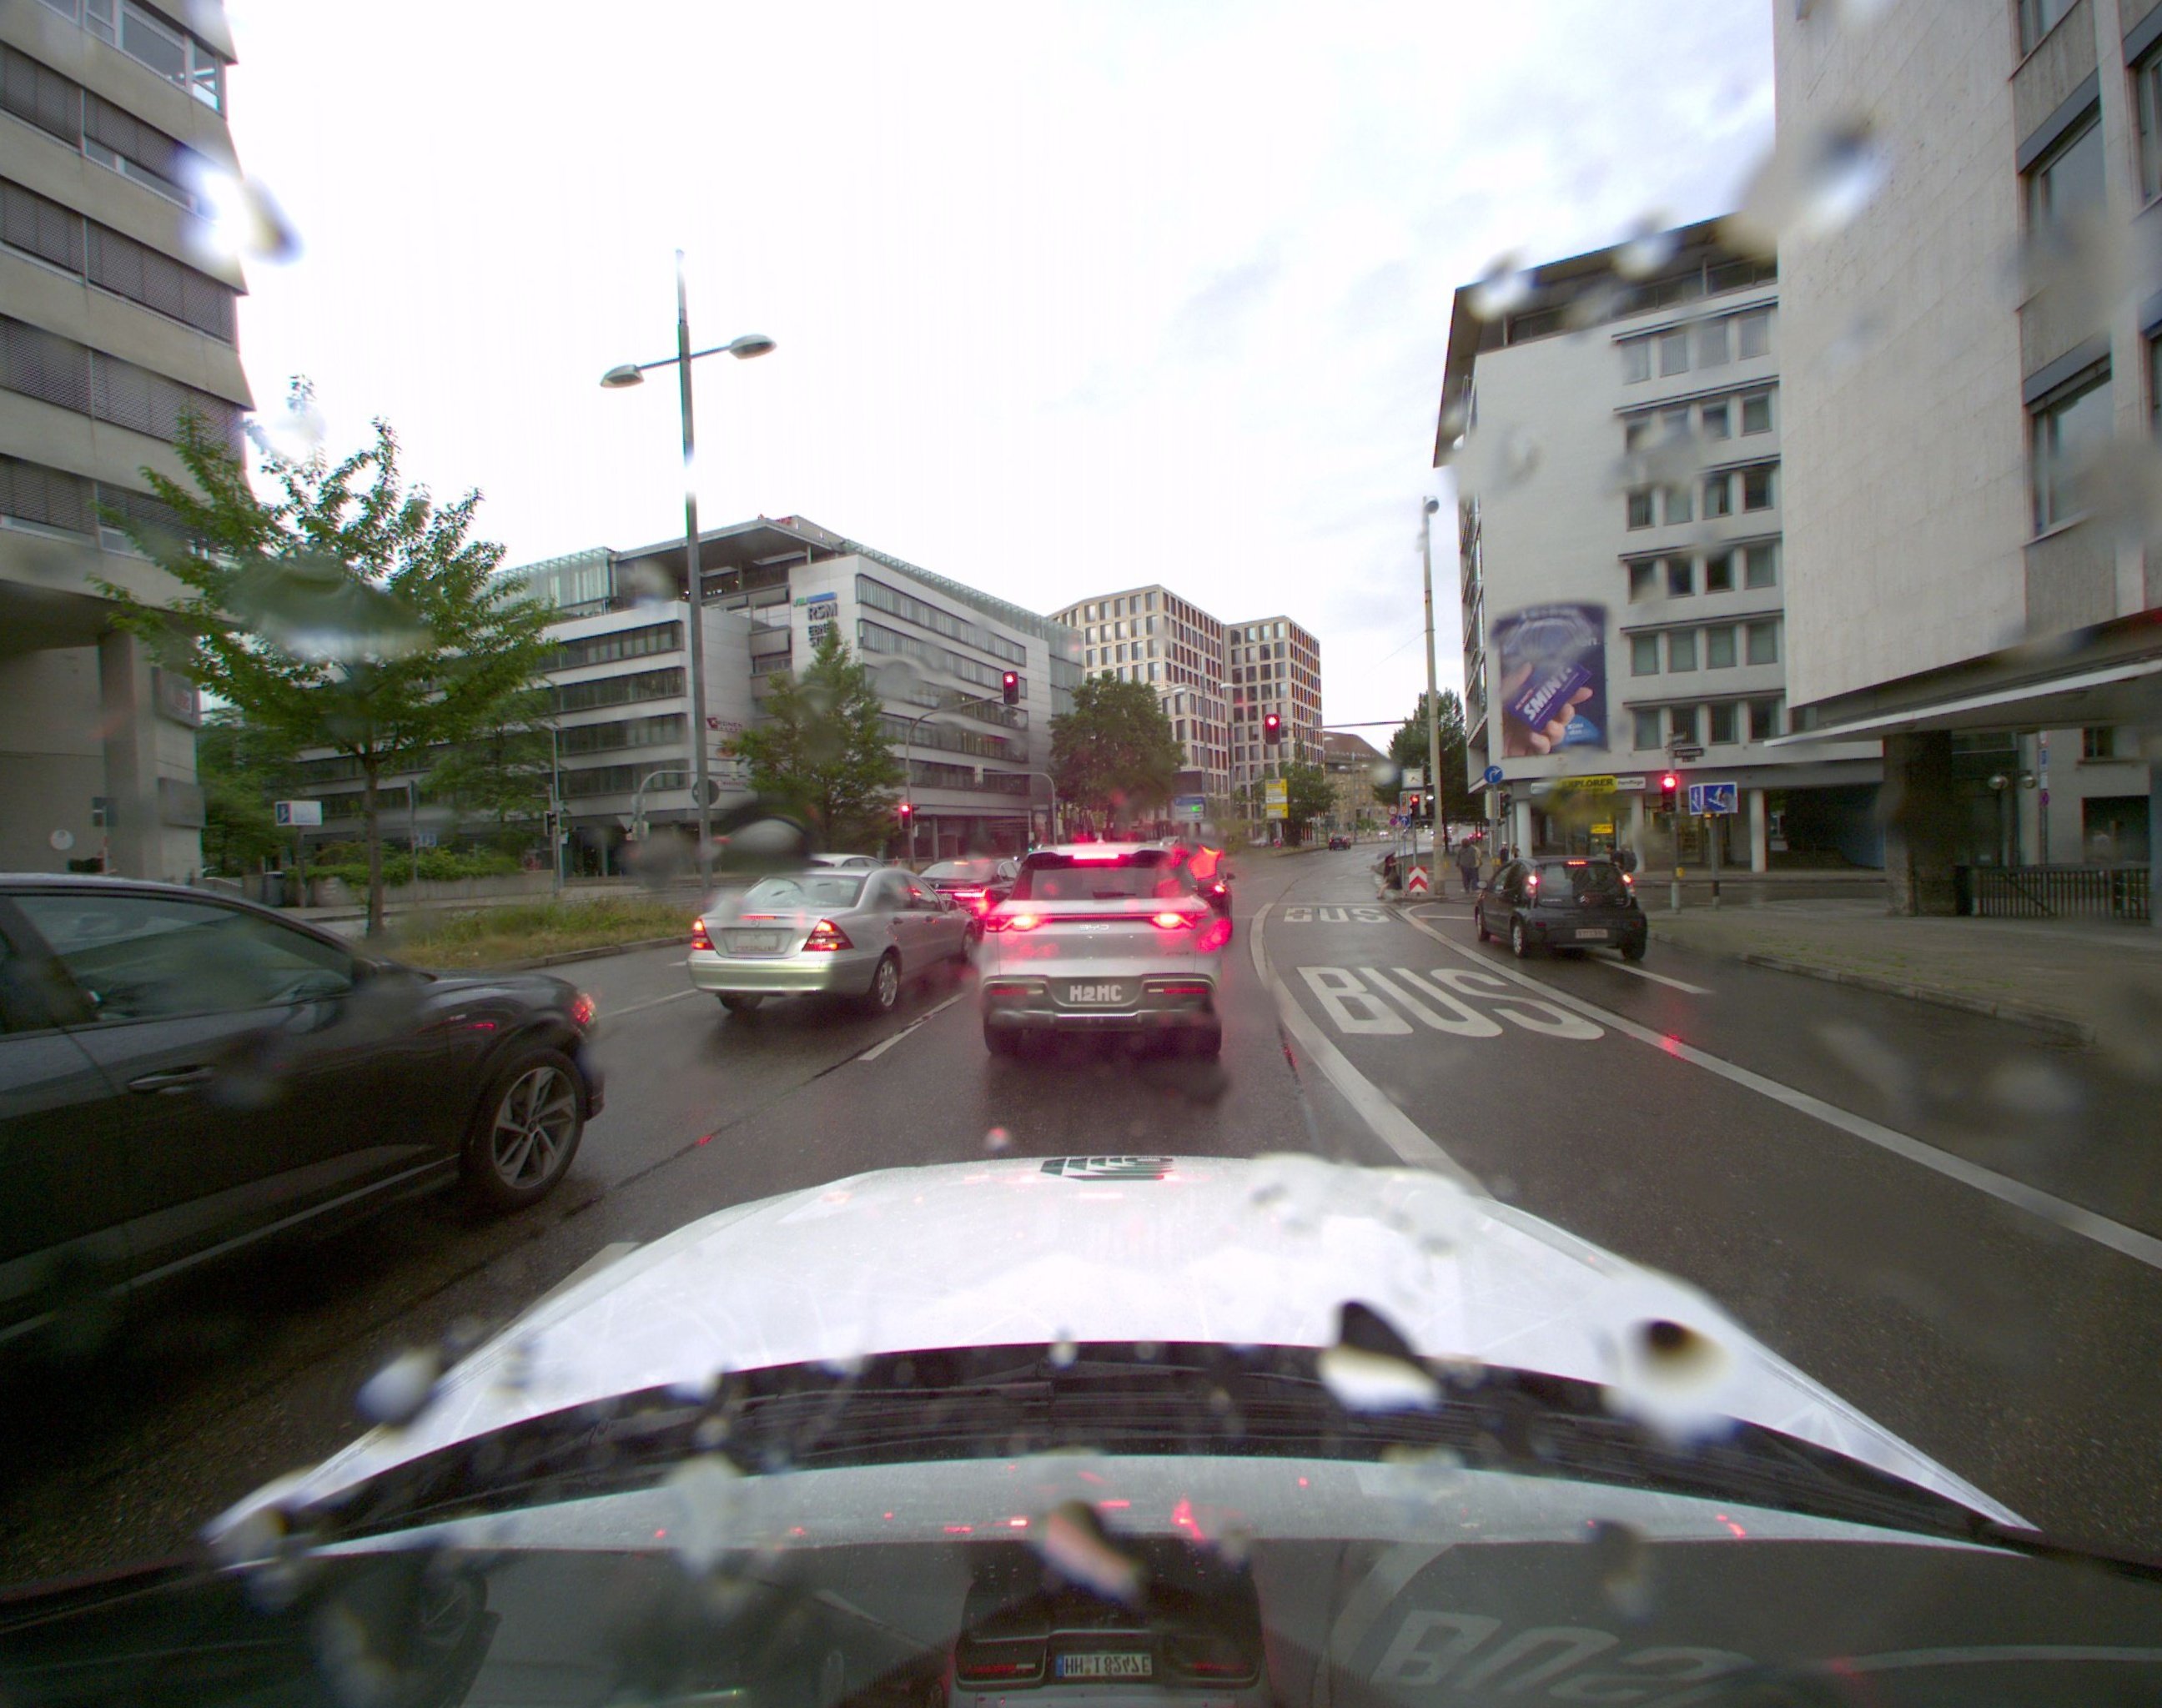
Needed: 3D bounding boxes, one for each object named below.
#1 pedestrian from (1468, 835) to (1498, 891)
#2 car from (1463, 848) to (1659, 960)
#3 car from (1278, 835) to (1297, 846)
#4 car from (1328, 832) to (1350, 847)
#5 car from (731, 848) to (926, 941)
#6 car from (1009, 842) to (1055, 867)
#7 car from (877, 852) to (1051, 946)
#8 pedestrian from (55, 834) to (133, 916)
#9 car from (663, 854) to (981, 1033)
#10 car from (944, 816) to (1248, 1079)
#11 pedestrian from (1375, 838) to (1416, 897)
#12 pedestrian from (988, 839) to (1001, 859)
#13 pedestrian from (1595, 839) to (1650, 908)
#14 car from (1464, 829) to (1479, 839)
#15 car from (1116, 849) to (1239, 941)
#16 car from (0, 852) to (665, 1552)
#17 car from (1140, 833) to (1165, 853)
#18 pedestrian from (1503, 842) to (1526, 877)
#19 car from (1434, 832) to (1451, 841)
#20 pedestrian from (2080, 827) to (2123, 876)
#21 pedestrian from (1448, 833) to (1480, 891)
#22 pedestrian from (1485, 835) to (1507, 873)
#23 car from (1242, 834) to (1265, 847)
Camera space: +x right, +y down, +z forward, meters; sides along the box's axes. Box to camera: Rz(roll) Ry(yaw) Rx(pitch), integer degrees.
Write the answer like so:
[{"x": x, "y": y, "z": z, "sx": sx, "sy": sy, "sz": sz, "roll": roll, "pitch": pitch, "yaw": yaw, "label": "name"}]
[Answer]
[{"x": 13.073, "y": 0.284, "z": 26.506, "sx": 0.721, "sy": 1.798, "sz": 0.742, "roll": -1, "pitch": 0, "yaw": 17, "label": "pedestrian"}, {"x": 7.218, "y": 0.660, "z": 12.631, "sx": 1.650, "sy": 1.473, "sz": 3.496, "roll": -1, "pitch": 0, "yaw": 13, "label": "car"}, {"x": 34.917, "y": -2.221, "z": 137.719, "sx": 1.975, "sy": 1.705, "sz": 4.336, "roll": -1, "pitch": 2, "yaw": 29, "label": "car"}, {"x": 27.554, "y": -1.489, "z": 86.906, "sx": 1.976, "sy": 1.552, "sz": 4.021, "roll": 0, "pitch": 1, "yaw": 21, "label": "car"}, {"x": -4.836, "y": 0.697, "z": 16.263, "sx": 1.871, "sy": 1.596, "sz": 4.015, "roll": -1, "pitch": 0, "yaw": 14, "label": "car"}, {"x": -3.718, "y": -0.005, "z": 62.795, "sx": 1.976, "sy": 1.705, "sz": 4.022, "roll": -1, "pitch": 2, "yaw": 21, "label": "car"}, {"x": -2.050, "y": 0.756, "z": 15.561, "sx": 1.941, "sy": 1.530, "sz": 4.014, "roll": -1, "pitch": 0, "yaw": 13, "label": "car"}, {"x": -22.873, "y": 0.480, "z": 18.883, "sx": 0.721, "sy": 1.832, "sz": 0.929, "roll": -1, "pitch": 0, "yaw": 17, "label": "pedestrian"}, {"x": -2.524, "y": 0.783, "z": 9.142, "sx": 1.672, "sy": 1.486, "sz": 4.207, "roll": -1, "pitch": 0, "yaw": 8, "label": "car"}, {"x": 0.267, "y": 0.608, "z": 7.683, "sx": 1.984, "sy": 1.709, "sz": 4.488, "roll": -2, "pitch": 1, "yaw": 4, "label": "car"}, {"x": 9.577, "y": 0.398, "z": 24.832, "sx": 0.920, "sy": 1.738, "sz": 0.729, "roll": -2, "pitch": 0, "yaw": -3, "label": "pedestrian"}, {"x": -7.639, "y": -0.417, "z": 72.251, "sx": 0.721, "sy": 1.727, "sz": 0.930, "roll": -1, "pitch": 0, "yaw": 23, "label": "pedestrian"}, {"x": 14.037, "y": 0.492, "z": 21.121, "sx": 0.800, "sy": 1.755, "sz": 1.005, "roll": 0, "pitch": -1, "yaw": -44, "label": "pedestrian"}, {"x": 67.420, "y": -3.412, "z": 140.634, "sx": 2.027, "sy": 1.765, "sz": 4.384, "roll": 0, "pitch": 1, "yaw": 30, "label": "car"}, {"x": 2.029, "y": 0.701, "z": 15.963, "sx": 1.941, "sy": 1.530, "sz": 4.014, "roll": -1, "pitch": 0, "yaw": 13, "label": "car"}, {"x": -3.229, "y": 0.747, "z": 2.311, "sx": 1.931, "sy": 1.435, "sz": 4.285, "roll": -2, "pitch": 0, "yaw": -1, "label": "car"}, {"x": 7.984, "y": -1.218, "z": 90.442, "sx": 1.723, "sy": 2.161, "sz": 4.516, "roll": 0, "pitch": 0, "yaw": 20, "label": "car"}, {"x": 19.477, "y": 0.260, "z": 36.601, "sx": 0.721, "sy": 1.524, "sz": 0.763, "roll": -1, "pitch": -1, "yaw": 17, "label": "pedestrian"}, {"x": 57.690, "y": -2.767, "z": 129.927, "sx": 1.892, "sy": 1.510, "sz": 4.384, "roll": 0, "pitch": 1, "yaw": 30, "label": "car"}, {"x": 37.446, "y": -0.087, "z": 29.899, "sx": 0.675, "sy": 1.798, "sz": 0.733, "roll": -2, "pitch": -1, "yaw": 23, "label": "pedestrian"}, {"x": 12.331, "y": 0.254, "z": 26.246, "sx": 0.806, "sy": 1.798, "sz": 0.714, "roll": -1, "pitch": 0, "yaw": 17, "label": "pedestrian"}, {"x": 18.799, "y": 0.009, "z": 36.895, "sx": 0.721, "sy": 1.668, "sz": 0.694, "roll": -1, "pitch": -1, "yaw": 17, "label": "pedestrian"}, {"x": 25.244, "y": -2.018, "z": 119.165, "sx": 1.975, "sy": 1.705, "sz": 4.336, "roll": -1, "pitch": 2, "yaw": 29, "label": "car"}]
